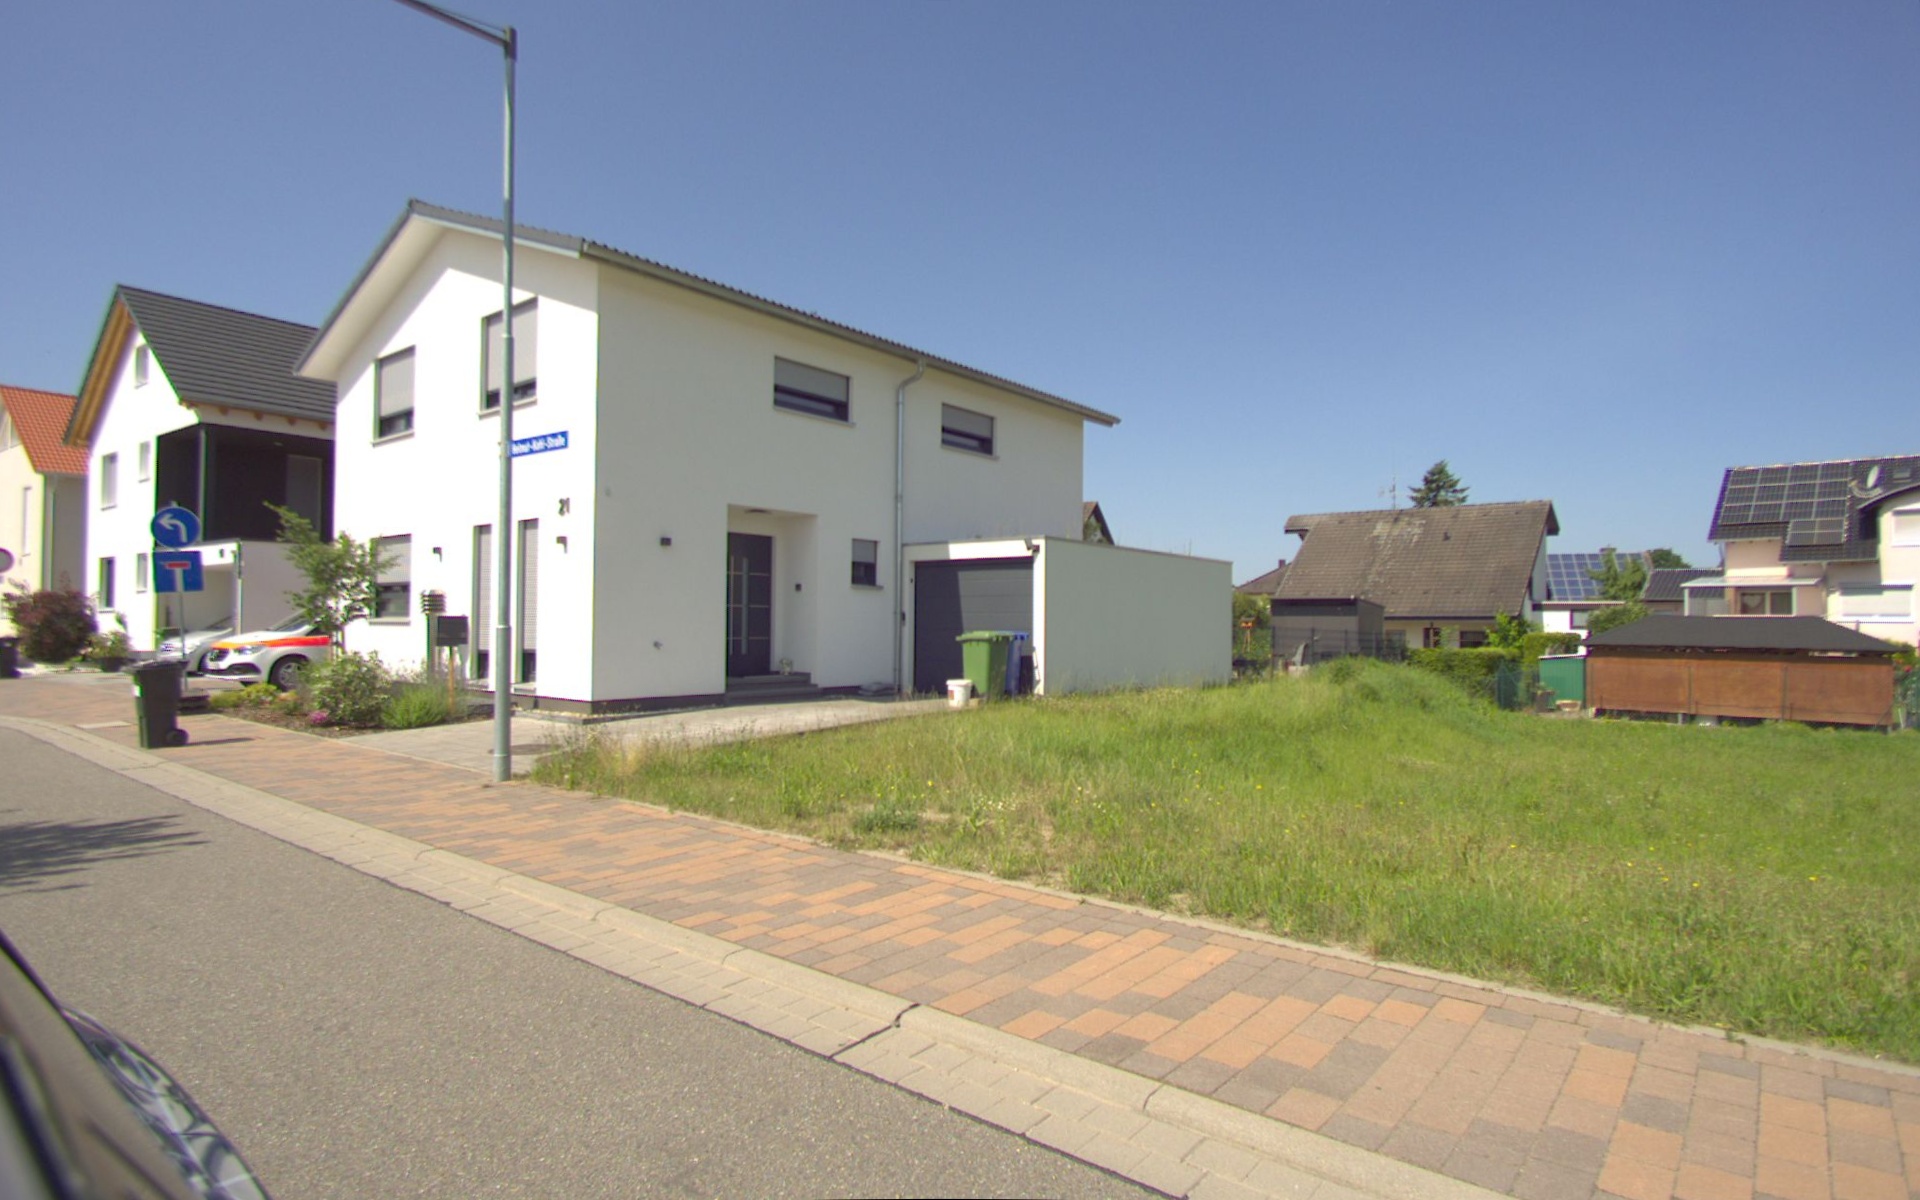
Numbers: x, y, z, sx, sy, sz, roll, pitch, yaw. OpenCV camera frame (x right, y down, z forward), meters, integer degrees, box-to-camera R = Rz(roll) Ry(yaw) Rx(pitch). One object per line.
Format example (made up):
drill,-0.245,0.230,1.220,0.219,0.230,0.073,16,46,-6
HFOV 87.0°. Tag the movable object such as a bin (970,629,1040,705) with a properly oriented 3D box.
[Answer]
movable object such as a bin,0.685,1.000,15.274,0.807,1.107,0.663,-1,-3,40

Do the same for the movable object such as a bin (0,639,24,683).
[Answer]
movable object such as a bin,-21.185,1.342,22.374,0.563,0.944,0.611,-2,-2,35

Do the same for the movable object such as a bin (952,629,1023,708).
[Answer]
movable object such as a bin,0.396,0.984,14.710,0.784,1.107,0.653,-1,-3,39

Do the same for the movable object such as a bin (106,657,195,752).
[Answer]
movable object such as a bin,-8.759,1.110,10.959,0.499,0.955,0.618,0,-1,35

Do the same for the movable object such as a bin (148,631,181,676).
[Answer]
movable object such as a bin,-19.845,1.336,25.243,0.600,1.100,0.494,-3,-3,35

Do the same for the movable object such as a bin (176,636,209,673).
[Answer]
movable object such as a bin,-19.544,1.376,25.763,0.560,0.912,0.494,0,-1,35

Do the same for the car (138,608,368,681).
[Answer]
car,-16.719,1.043,24.132,1.740,1.574,4.118,-1,-3,33

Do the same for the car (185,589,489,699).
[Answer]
car,-12.066,0.844,19.921,1.935,1.889,4.693,-1,-2,36
